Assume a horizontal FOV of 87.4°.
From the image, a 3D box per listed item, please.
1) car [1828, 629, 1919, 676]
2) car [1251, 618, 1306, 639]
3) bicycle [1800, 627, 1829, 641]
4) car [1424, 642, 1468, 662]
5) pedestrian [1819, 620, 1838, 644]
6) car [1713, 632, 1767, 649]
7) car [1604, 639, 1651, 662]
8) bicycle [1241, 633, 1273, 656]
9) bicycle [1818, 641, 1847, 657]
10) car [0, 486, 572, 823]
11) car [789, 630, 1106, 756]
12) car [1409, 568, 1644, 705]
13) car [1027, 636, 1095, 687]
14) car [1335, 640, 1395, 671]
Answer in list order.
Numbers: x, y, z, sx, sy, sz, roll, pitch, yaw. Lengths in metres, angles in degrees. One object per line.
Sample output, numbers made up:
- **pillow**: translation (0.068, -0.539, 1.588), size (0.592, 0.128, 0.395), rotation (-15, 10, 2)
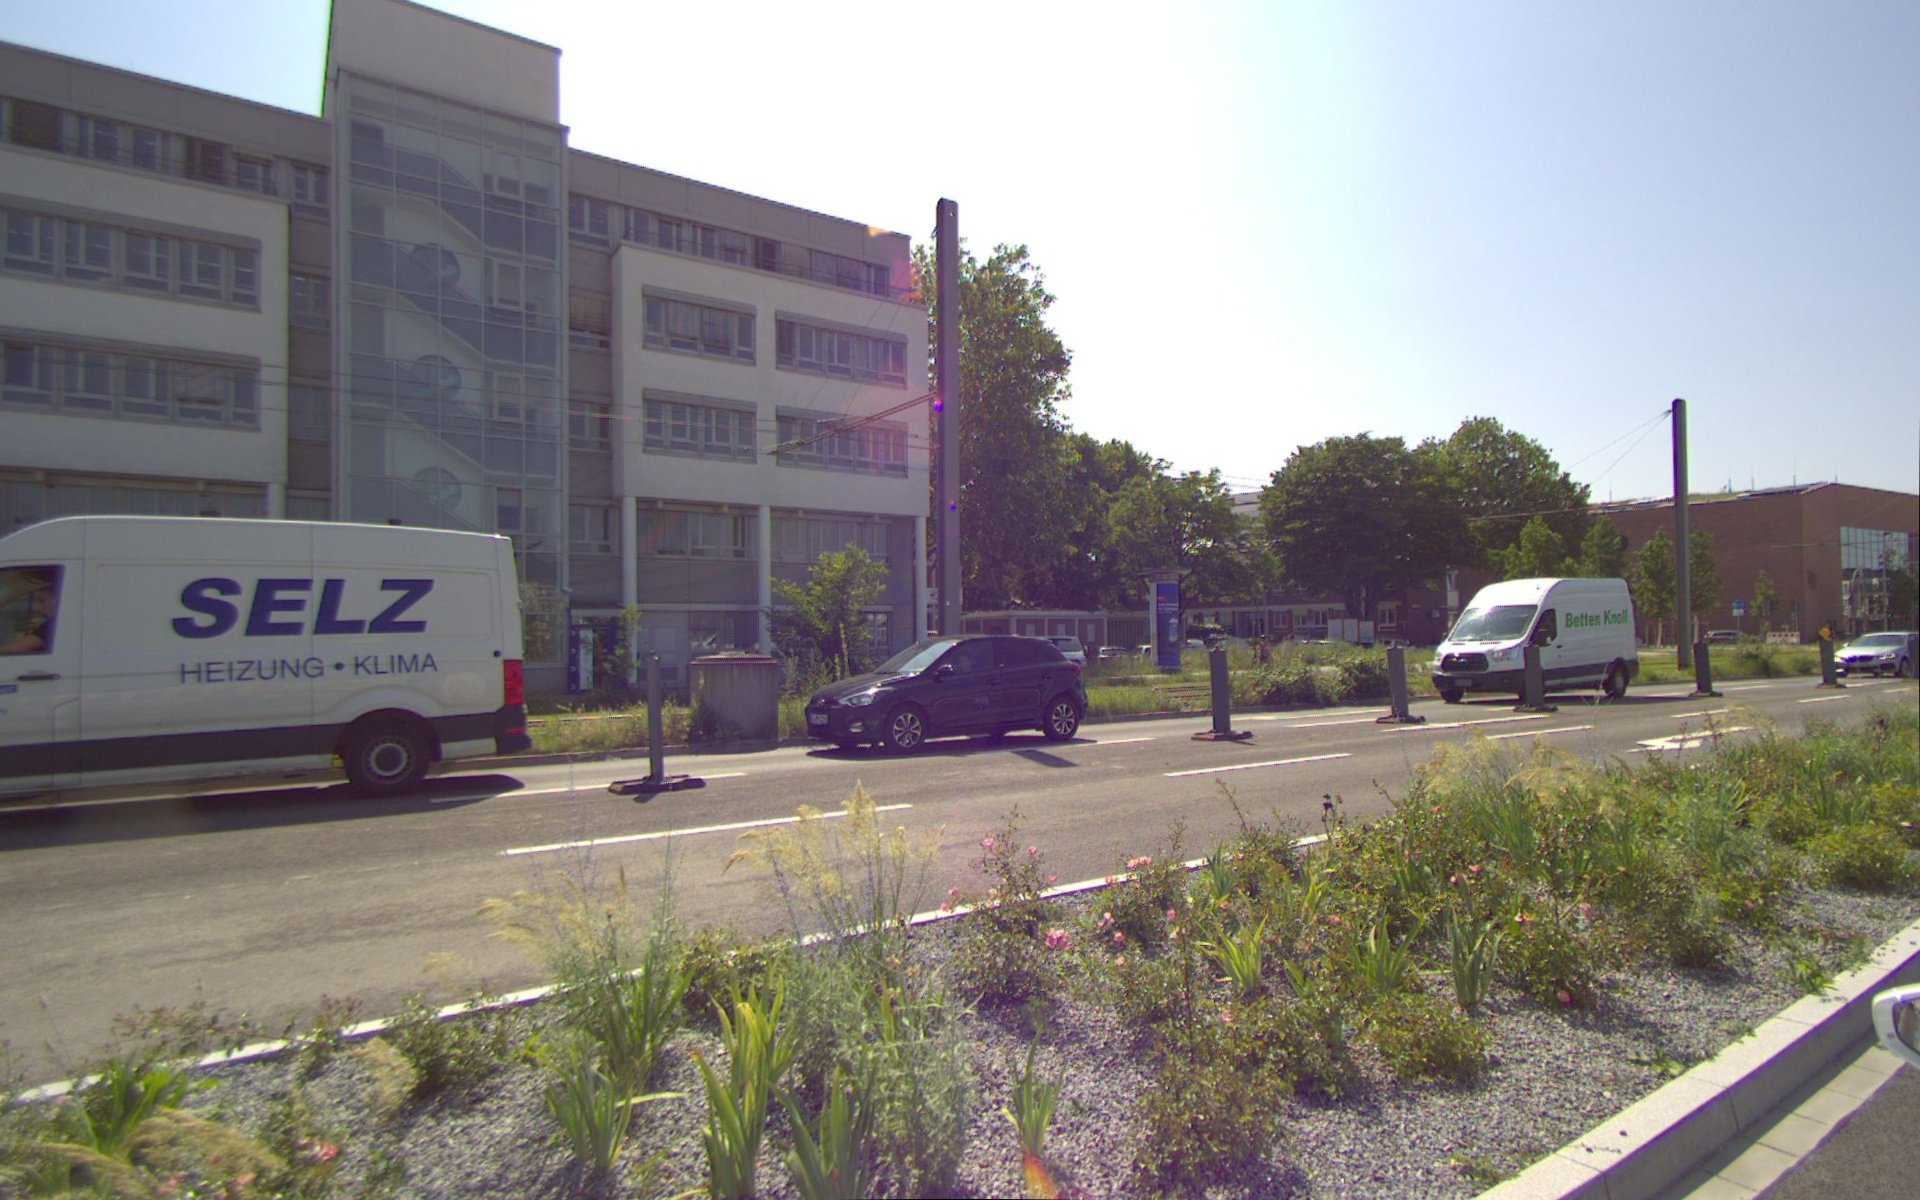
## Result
- **car**: translation (30.587, 1.719, 33.161), size (4.419, 1.462, 1.665), rotation (1, -4, -32)
- **car**: translation (23.943, 2.144, 75.558), size (3.694, 1.476, 1.536), rotation (0, -1, 39)
- **bicycle**: translation (78.910, 3.122, 92.735), size (0.536, 1.228, 2.030), rotation (1, -1, -44)
- **car**: translation (36.293, 3.861, 74.991), size (3.755, 1.476, 1.526), rotation (1, -2, -39)
- **pedestrian**: translation (69.984, 2.576, 80.911), size (1.093, 1.871, 0.808), rotation (0, -1, -28)
- **car**: translation (68.795, 3.579, 88.586), size (1.557, 1.388, 3.456), rotation (0, -1, -35)
- **car**: translation (53.786, 4.047, 80.904), size (4.257, 1.784, 1.687), rotation (2, -2, -35)
- **bicycle**: translation (13.207, 1.951, 44.644), size (1.540, 0.999, 0.458), rotation (1, -1, -32)
- **bicycle**: translation (82.738, 4.663, 95.238), size (0.536, 1.472, 2.031), rotation (0, -1, -44)
- **car**: translation (-7.009, 0.513, 9.278), size (6.128, 2.611, 2.020), rotation (1, -5, -33)
- **car**: translation (-0.091, 1.190, 13.679), size (4.149, 1.476, 1.536), rotation (1, -4, -34)
- **car**: translation (13.013, 0.849, 22.924), size (5.921, 2.775, 2.066), rotation (1, -4, -33)
- **car**: translation (4.635, 2.796, 46.924), size (2.074, 2.208, 5.071), rotation (0, -2, -7)
- **car**: translation (23.500, 3.176, 58.251), size (3.607, 1.612, 1.753), rotation (1, 0, -40)
